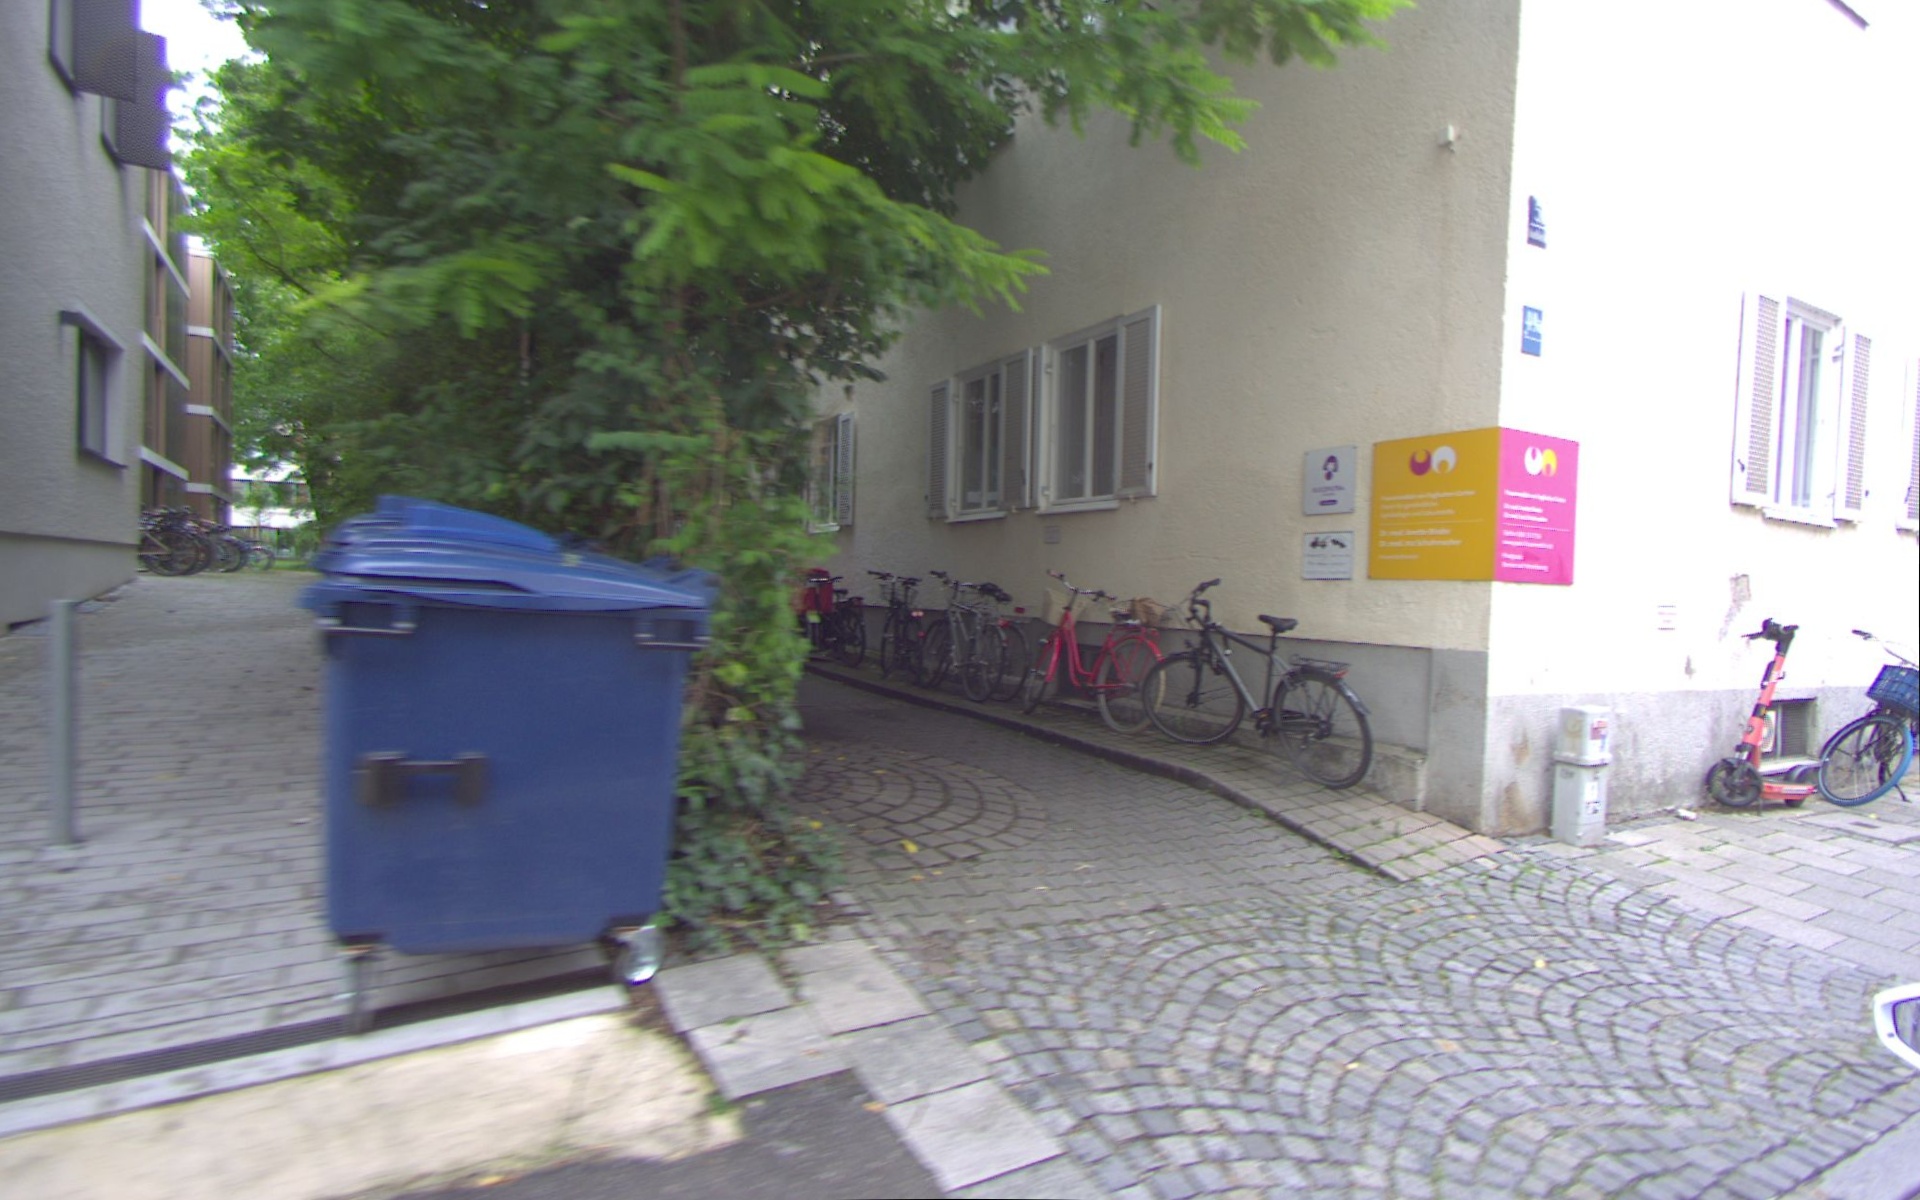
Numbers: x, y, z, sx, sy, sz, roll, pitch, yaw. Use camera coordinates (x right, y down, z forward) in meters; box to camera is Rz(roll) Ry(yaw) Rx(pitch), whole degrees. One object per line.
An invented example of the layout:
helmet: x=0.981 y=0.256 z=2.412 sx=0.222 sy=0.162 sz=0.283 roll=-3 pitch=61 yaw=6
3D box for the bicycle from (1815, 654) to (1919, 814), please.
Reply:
bicycle: x=7.144 y=0.953 z=7.452 sx=1.804 sy=0.997 sz=0.699 roll=2 pitch=5 yaw=-35

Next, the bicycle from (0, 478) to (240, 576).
bicycle: x=-13.598 y=-1.127 z=16.098 sx=3.206 sy=1.315 sz=1.148 roll=2 pitch=0 yaw=-30

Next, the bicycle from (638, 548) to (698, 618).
bicycle: x=-5.866 y=-0.354 z=20.118 sx=0.527 sy=1.323 sz=1.927 roll=1 pitch=1 yaw=-36

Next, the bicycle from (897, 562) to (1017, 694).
bicycle: x=-0.068 y=0.238 z=10.036 sx=0.378 sy=1.219 sz=1.623 roll=1 pitch=1 yaw=-31

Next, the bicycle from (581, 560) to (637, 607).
bicycle: x=-8.774 y=-0.420 z=25.034 sx=0.765 sy=1.099 sz=2.884 roll=1 pitch=1 yaw=-30

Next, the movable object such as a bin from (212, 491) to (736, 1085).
movable object such as a bin: x=-1.472 y=0.426 z=3.228 sx=1.231 sy=1.462 sz=1.171 roll=0 pitch=6 yaw=-24

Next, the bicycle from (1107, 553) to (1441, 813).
bicycle: x=1.859 y=0.404 z=6.395 sx=0.508 sy=1.316 sz=2.188 roll=1 pitch=4 yaw=-30

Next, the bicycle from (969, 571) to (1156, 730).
bicycle: x=0.789 y=0.358 z=8.276 sx=0.527 sy=1.149 sz=1.787 roll=1 pitch=1 yaw=-31

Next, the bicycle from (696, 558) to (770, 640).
bicycle: x=-3.581 y=-0.041 z=15.718 sx=0.527 sy=1.211 sz=1.930 roll=1 pitch=1 yaw=-31

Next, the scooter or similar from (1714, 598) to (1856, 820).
scooter or similar: x=5.570 y=0.706 z=6.768 sx=1.225 sy=1.394 sz=0.315 roll=2 pitch=0 yaw=-31

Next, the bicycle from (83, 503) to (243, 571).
bicycle: x=-17.793 y=-1.381 z=22.524 sx=2.692 sy=1.338 sz=0.729 roll=2 pitch=0 yaw=-30

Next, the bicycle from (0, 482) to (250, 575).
bicycle: x=-14.203 y=-1.168 z=17.201 sx=3.206 sy=1.315 sz=1.148 roll=2 pitch=0 yaw=-30

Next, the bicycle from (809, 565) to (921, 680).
bicycle: x=-1.124 y=0.217 z=11.503 sx=0.527 sy=1.211 sz=1.787 roll=1 pitch=1 yaw=-31

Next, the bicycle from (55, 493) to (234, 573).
bicycle: x=-16.282 y=-1.305 z=20.174 sx=2.660 sy=1.383 sz=0.771 roll=2 pitch=0 yaw=-30

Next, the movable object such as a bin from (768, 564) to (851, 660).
movable object such as a bin: x=-1.918 y=0.149 z=12.785 sx=0.816 sy=1.175 sz=0.746 roll=1 pitch=1 yaw=-29

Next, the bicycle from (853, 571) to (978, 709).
bicycle: x=-0.471 y=0.347 z=9.812 sx=0.443 sy=1.219 sz=1.644 roll=1 pitch=1 yaw=-31

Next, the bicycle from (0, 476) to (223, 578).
bicycle: x=-13.070 y=-1.062 z=14.968 sx=3.206 sy=1.315 sz=1.148 roll=2 pitch=0 yaw=-30

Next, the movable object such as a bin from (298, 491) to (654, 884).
movable object such as a bin: x=-2.112 y=0.274 z=4.441 sx=1.233 sy=1.424 sz=1.169 roll=0 pitch=7 yaw=-28

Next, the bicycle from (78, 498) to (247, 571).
bicycle: x=-16.837 y=-1.354 z=21.319 sx=2.692 sy=1.338 sz=0.729 roll=2 pitch=0 yaw=-30
